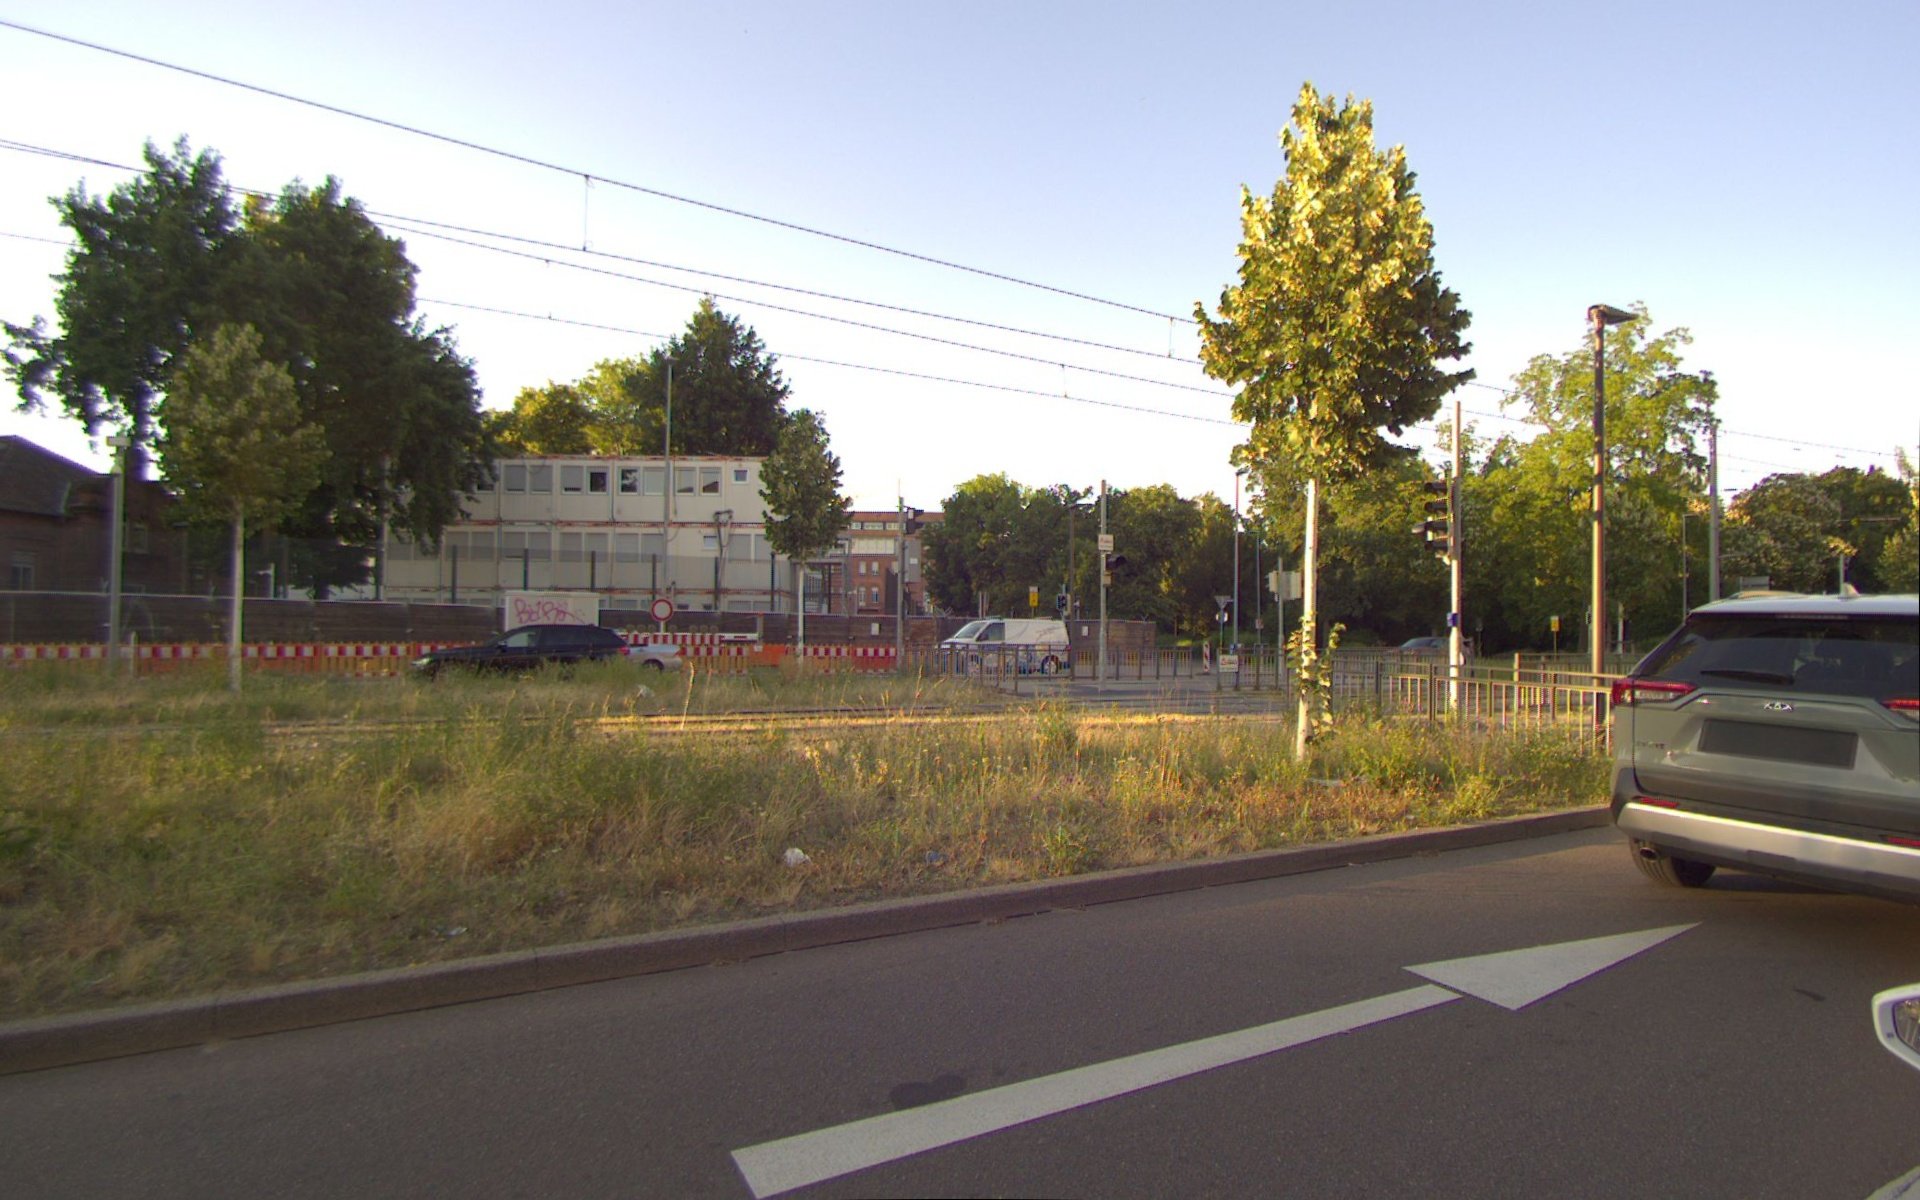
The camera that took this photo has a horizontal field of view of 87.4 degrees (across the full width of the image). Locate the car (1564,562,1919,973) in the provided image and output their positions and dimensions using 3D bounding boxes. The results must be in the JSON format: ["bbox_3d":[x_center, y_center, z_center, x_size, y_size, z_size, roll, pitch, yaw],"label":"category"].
[{"bbox_3d":[5.466,0.691,5.640,4.220,1.681,1.845,0,0,-32],"label":"car"}]

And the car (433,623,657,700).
[{"bbox_3d":[-9.262,1.301,22.463,4.466,1.501,1.985,0,0,-28],"label":"car"}]

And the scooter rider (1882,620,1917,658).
[{"bbox_3d":[37.881,1.572,40.489,0.643,1.534,0.819,1,-2,-22],"label":"scooter rider"}]

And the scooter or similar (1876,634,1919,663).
[{"bbox_3d":[37.854,1.950,40.459,0.506,1.168,1.327,1,-2,-22],"label":"scooter or similar"}]

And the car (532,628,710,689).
[{"bbox_3d":[-9.451,1.586,28.097,4.467,1.501,1.985,0,0,-29],"label":"car"}]

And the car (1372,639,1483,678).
[{"bbox_3d":[20.031,2.473,43.026,4.461,1.501,1.987,0,0,-26],"label":"car"}]

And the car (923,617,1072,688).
[{"bbox_3d":[1.277,1.708,33.845,4.690,2.197,1.986,0,0,-28],"label":"car"}]
